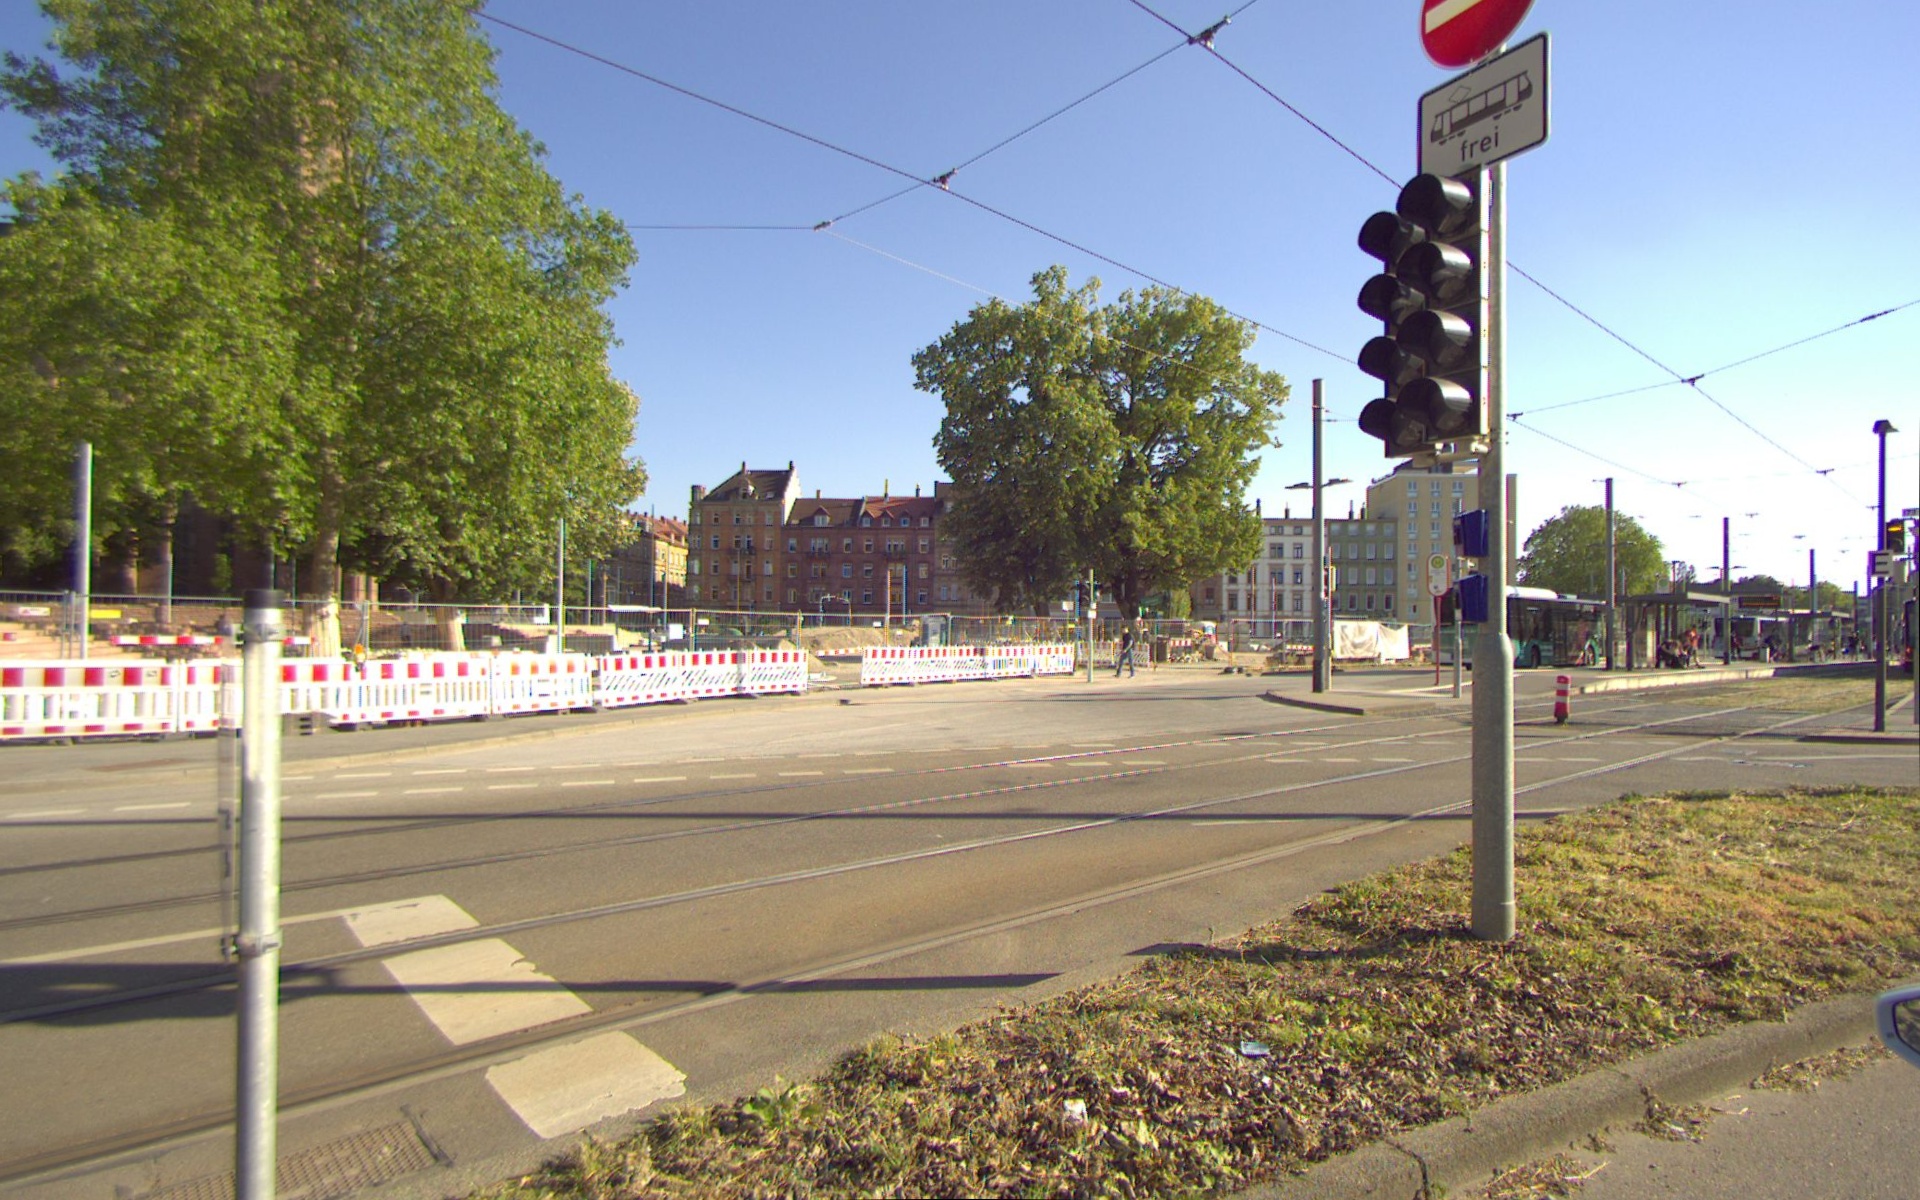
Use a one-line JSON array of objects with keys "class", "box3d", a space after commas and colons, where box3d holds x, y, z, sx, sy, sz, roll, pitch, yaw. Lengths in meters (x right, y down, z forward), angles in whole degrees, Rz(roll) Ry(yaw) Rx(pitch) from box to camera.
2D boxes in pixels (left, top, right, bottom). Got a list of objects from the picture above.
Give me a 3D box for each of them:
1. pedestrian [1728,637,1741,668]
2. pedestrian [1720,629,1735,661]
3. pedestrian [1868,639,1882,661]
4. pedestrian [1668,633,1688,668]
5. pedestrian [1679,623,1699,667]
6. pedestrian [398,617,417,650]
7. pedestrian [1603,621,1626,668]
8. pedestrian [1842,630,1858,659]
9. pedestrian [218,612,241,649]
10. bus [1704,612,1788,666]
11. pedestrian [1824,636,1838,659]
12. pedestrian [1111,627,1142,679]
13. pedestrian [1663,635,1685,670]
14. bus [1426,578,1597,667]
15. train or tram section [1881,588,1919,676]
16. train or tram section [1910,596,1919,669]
[{"class": "pedestrian", "box3d": [44.701, 3.036, 57.960, 0.564, 1.772, 0.636, -1, -2, 41]}, {"class": "pedestrian", "box3d": [42.748, 2.517, 55.953, 0.629, 1.772, 0.570, -1, -2, 34]}, {"class": "pedestrian", "box3d": [72.706, 3.969, 79.792, 0.634, 1.772, 0.728, 2, -2, -37]}, {"class": "pedestrian", "box3d": [28.178, 1.985, 39.407, 0.564, 1.363, 0.636, -1, -2, 43]}, {"class": "pedestrian", "box3d": [29.557, 1.813, 40.727, 0.564, 1.772, 0.636, -1, -2, 43]}, {"class": "pedestrian", "box3d": [-27.779, 1.674, 50.482, 0.751, 1.669, 0.671, 1, -1, -26]}, {"class": "pedestrian", "box3d": [25.067, 1.701, 38.472, 0.554, 1.772, 0.534, 2, -2, -35]}, {"class": "pedestrian", "box3d": [54.001, 2.695, 60.967, 0.629, 1.772, 0.570, -1, -2, 34]}, {"class": "pedestrian", "box3d": [-33.233, 1.405, 45.712, 0.665, 1.669, 0.635, 1, -1, -18]}, {"class": "bus", "box3d": [53.956, 2.634, 68.749, 13.376, 3.317, 2.694, 2, 0, -44]}, {"class": "pedestrian", "box3d": [69.024, 3.736, 79.571, 0.634, 1.772, 0.728, 2, -2, -37]}, {"class": "pedestrian", "box3d": [5.636, 1.787, 33.962, 0.699, 1.719, 0.899, -1, -4, 33]}, {"class": "pedestrian", "box3d": [27.669, 2.021, 38.932, 0.609, 1.358, 0.438, -1, -2, 44]}, {"class": "bus", "box3d": [21.996, 0.902, 39.749, 9.564, 3.177, 2.631, 2, 0, -40]}, {"class": "train or tram section", "box3d": [44.750, 1.494, 45.827, 12.108, 3.644, 2.855, 2, 0, -42]}, {"class": "train or tram section", "box3d": [53.887, 1.822, 53.780, 12.100, 3.644, 2.987, 2, 0, -40]}]
